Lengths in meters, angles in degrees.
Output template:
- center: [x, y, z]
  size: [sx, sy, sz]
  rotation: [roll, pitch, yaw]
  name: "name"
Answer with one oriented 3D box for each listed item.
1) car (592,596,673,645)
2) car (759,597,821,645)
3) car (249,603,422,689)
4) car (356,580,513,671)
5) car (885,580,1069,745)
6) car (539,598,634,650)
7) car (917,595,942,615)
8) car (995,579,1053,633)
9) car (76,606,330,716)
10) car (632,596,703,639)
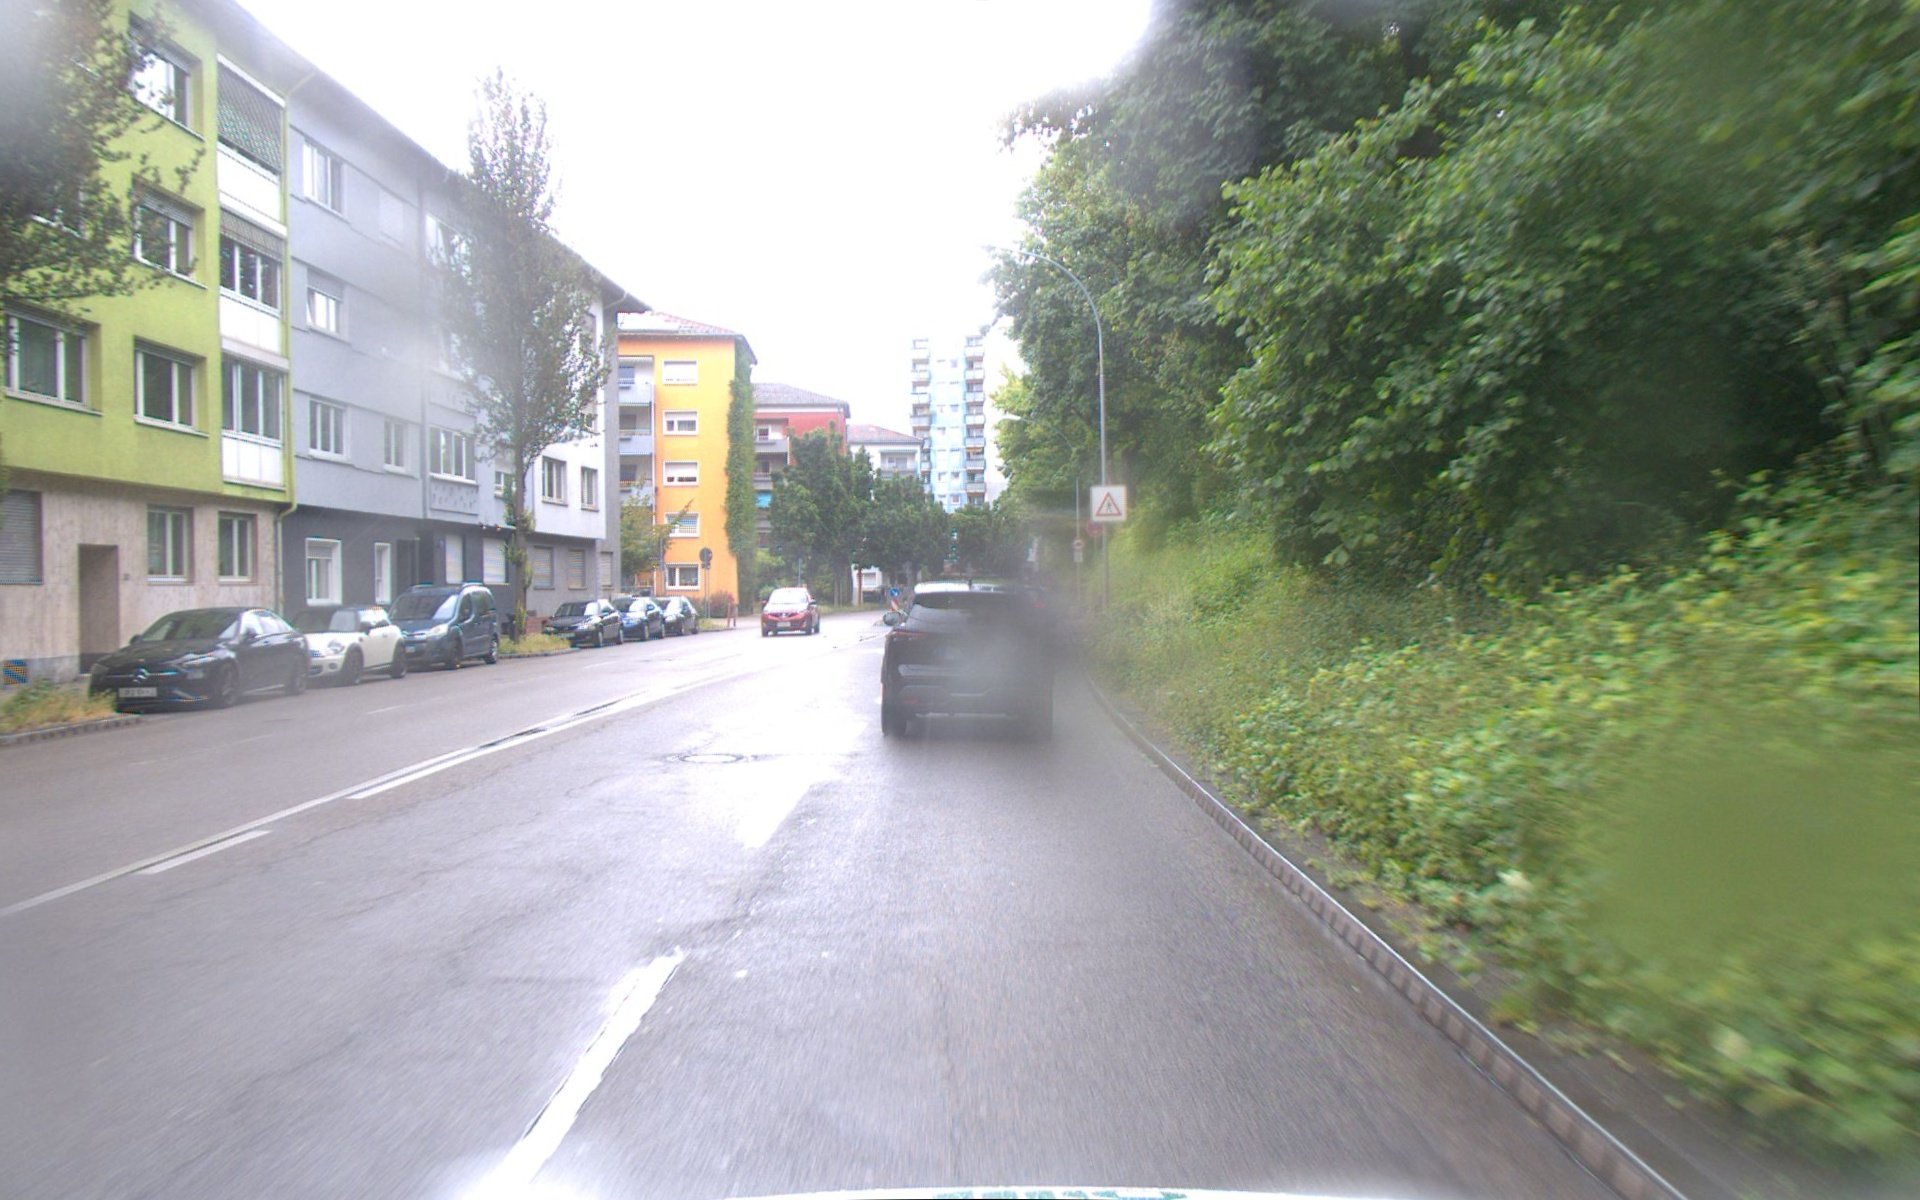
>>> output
- center: [-10.850, 0.652, 55.068]
  size: [1.646, 1.474, 4.277]
  rotation: [-3, 0, 1]
  name: "car"
- center: [-5.622, 0.682, 55.121]
  size: [1.671, 1.504, 3.680]
  rotation: [-1, 0, 0]
  name: "car"
- center: [-11.446, 0.794, 30.595]
  size: [1.646, 1.400, 4.000]
  rotation: [-3, 0, 0]
  name: "car"
- center: [-11.391, 0.534, 36.178]
  size: [1.852, 1.797, 4.601]
  rotation: [-2, 0, 1]
  name: "car"
- center: [0.213, 0.618, 18.417]
  size: [1.806, 1.610, 4.001]
  rotation: [1, 0, 1]
  name: "car"
- center: [-11.079, 0.685, 49.338]
  size: [1.654, 1.381, 4.579]
  rotation: [-4, 0, 1]
  name: "car"
- center: [-2.345, 0.386, 129.225]
  size: [1.751, 1.530, 4.649]
  rotation: [-2, 0, 1]
  name: "car"
- center: [2.115, 0.192, 54.879]
  size: [1.848, 1.741, 4.001]
  rotation: [0, 0, 2]
  name: "car"
- center: [-11.266, 0.847, 25.020]
  size: [1.781, 1.396, 4.678]
  rotation: [-2, 0, -2]
  name: "car"
- center: [-10.692, 0.601, 60.778]
  size: [1.677, 1.450, 4.323]
  rotation: [-3, 0, 2]
  name: "car"
